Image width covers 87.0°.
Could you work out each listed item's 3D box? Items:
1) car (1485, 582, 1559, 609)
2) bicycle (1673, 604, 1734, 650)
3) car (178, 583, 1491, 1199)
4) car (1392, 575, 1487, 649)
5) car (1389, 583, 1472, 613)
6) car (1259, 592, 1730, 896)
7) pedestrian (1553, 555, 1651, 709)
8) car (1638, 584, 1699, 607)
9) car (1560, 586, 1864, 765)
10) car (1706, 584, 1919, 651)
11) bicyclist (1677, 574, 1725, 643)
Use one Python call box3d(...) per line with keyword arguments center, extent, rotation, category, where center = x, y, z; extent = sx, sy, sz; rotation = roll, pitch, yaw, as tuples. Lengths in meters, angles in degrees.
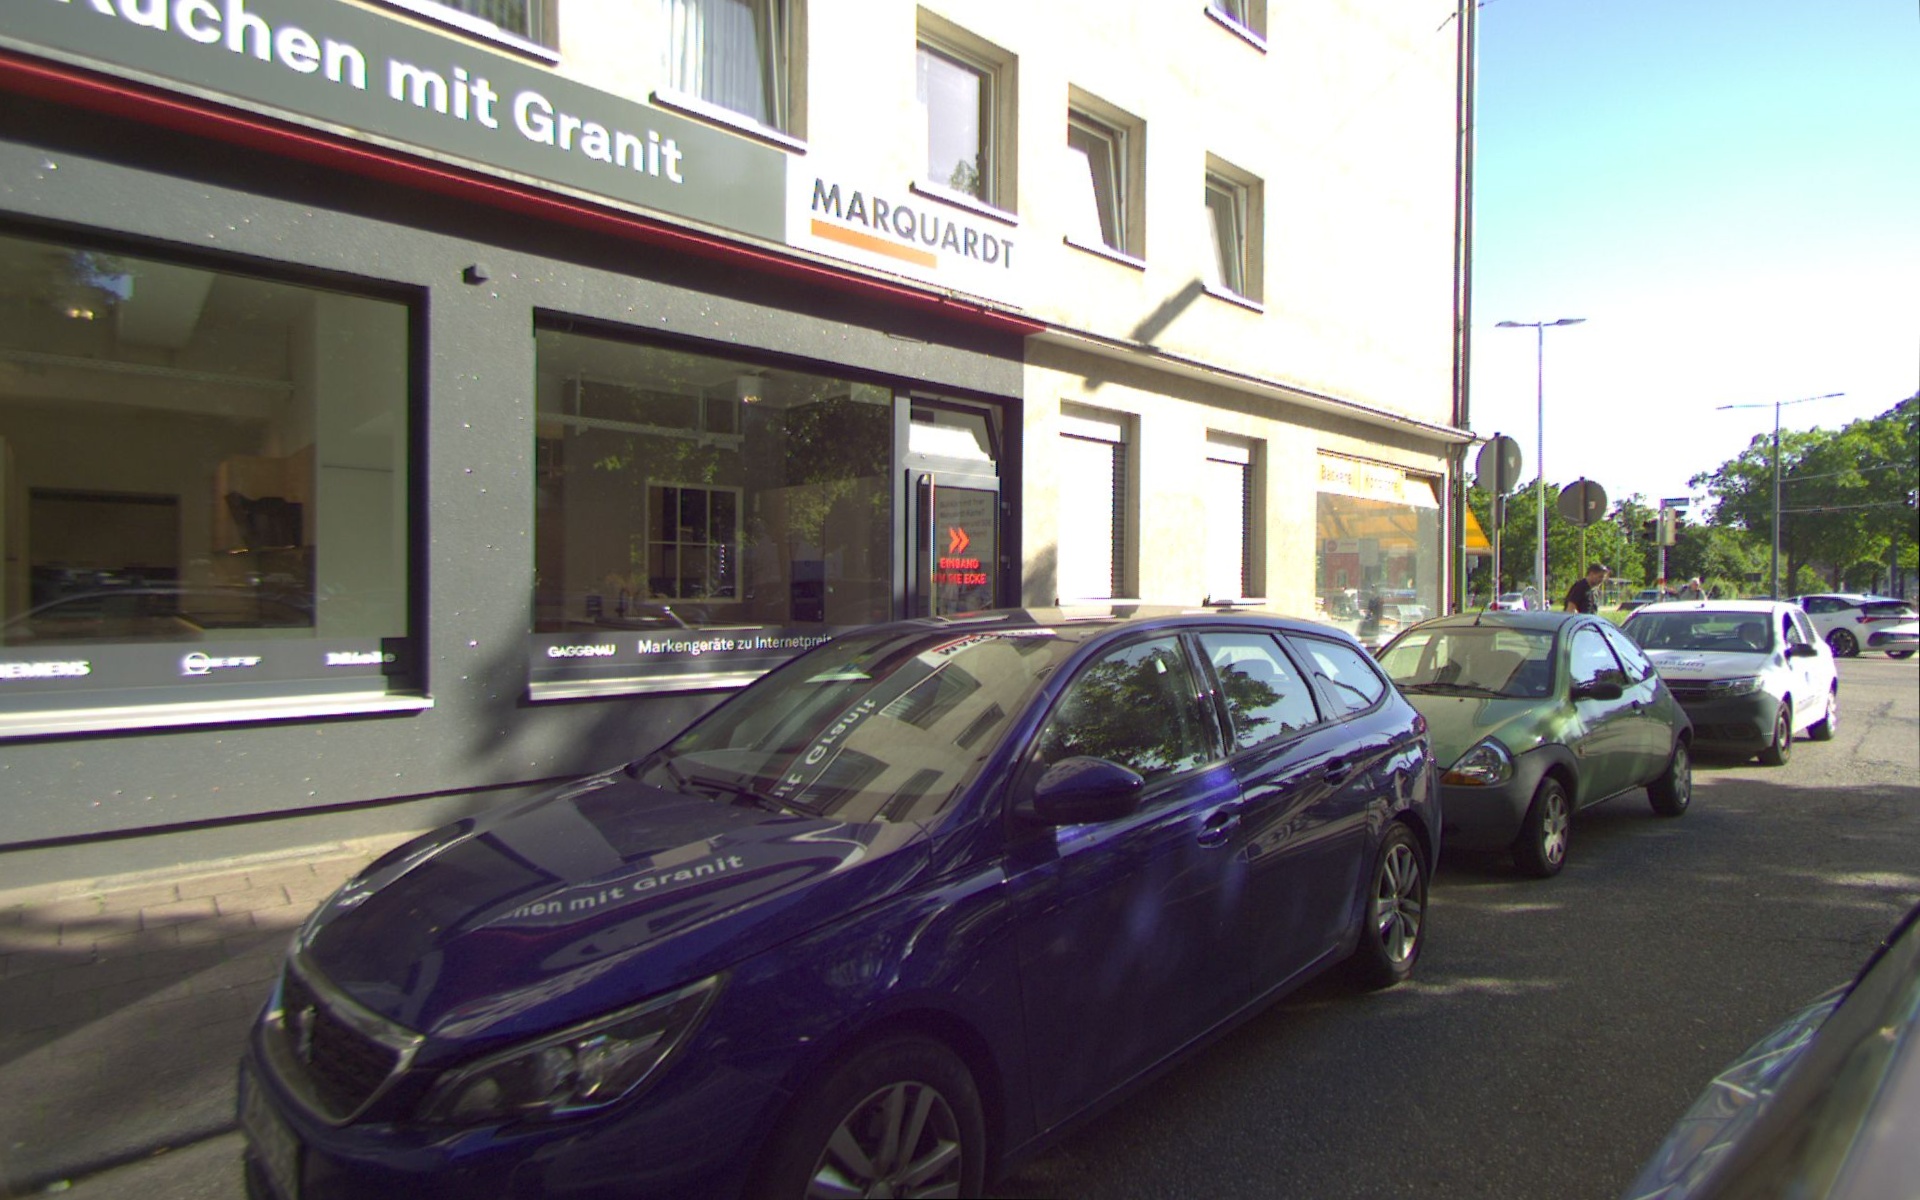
box3d(center=(32.123, -0.274, 57.818), extent=(4.398, 1.474, 1.874), rotation=(0, 1, -33), category="car")
box3d(center=(17.386, 0.603, 23.719), extent=(0.821, 0.999, 1.928), rotation=(0, 1, 27), category="bicycle")
box3d(center=(0.179, 0.691, 3.497), extent=(1.802, 1.482, 4.370), rotation=(0, 1, 44), category="car")
box3d(center=(12.728, 0.257, 27.113), extent=(1.850, 1.798, 4.456), rotation=(0, 1, 20), category="car")
box3d(center=(24.257, -0.123, 52.157), extent=(4.398, 1.474, 1.874), rotation=(0, 1, -33), category="car")
box3d(center=(3.720, 0.695, 6.790), extent=(3.608, 1.482, 1.599), rotation=(-1, 1, -41), category="car")
box3d(center=(7.562, 0.353, 11.934), extent=(0.731, 1.744, 0.761), rotation=(0, 0, -35), category="pedestrian")
box3d(center=(46.807, -0.296, 66.842), extent=(4.398, 1.474, 1.874), rotation=(0, 1, -33), category="car")
box3d(center=(7.910, 0.618, 10.520), extent=(3.952, 1.516, 1.722), rotation=(-1, 1, -41), category="car")
box3d(center=(22.231, 0.377, 26.060), extent=(1.885, 1.537, 5.044), rotation=(0, 1, -7), category="car")
box3d(center=(17.363, 0.183, 23.729), extent=(0.820, 1.583, 0.590), rotation=(0, 0, 27), category="bicyclist")
